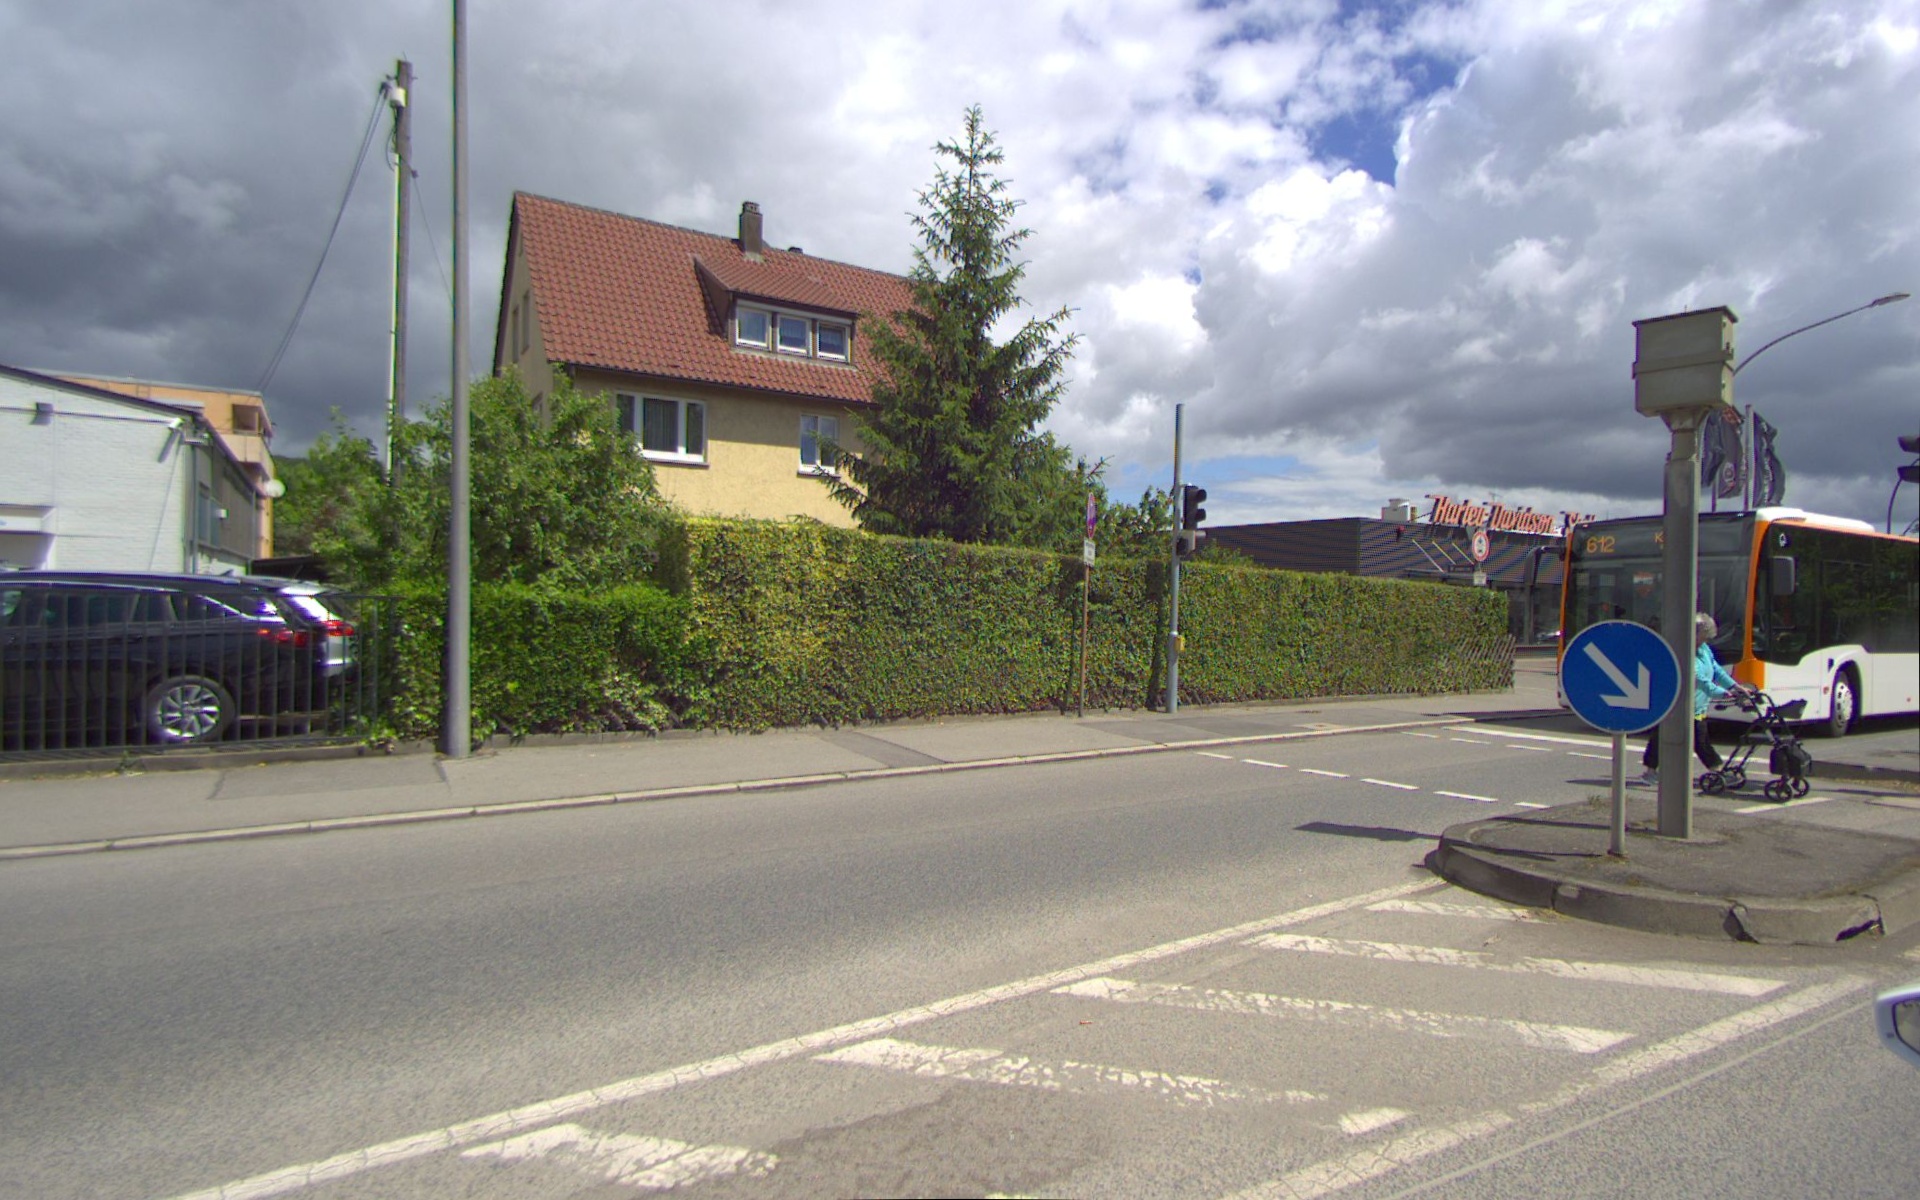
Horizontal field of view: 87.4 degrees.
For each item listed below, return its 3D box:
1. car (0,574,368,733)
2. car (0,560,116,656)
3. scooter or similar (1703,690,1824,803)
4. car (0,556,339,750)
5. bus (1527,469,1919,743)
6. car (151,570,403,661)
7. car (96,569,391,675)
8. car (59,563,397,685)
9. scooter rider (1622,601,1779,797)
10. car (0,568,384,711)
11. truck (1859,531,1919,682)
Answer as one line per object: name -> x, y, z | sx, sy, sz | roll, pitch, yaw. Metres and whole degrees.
car -> -9.041, 0.524, 11.057 | 4.224, 1.527, 2.140 | 1, 0, -35
car -> -17.382, 0.128, 17.498 | 3.963, 1.639, 1.763 | 2, -1, -37
scooter or similar -> 6.776, 1.208, 8.478 | 0.652, 0.843, 0.608 | 1, -1, -31
car -> -8.032, 0.419, 8.886 | 4.224, 1.527, 2.140 | 1, -1, -35
bus -> 14.048, 0.241, 16.405 | 11.982, 3.309, 2.764 | 2, -1, -31
car -> -13.417, 0.318, 19.910 | 3.963, 1.639, 1.763 | 2, -1, -37
car -> -12.273, 0.384, 17.434 | 3.963, 1.639, 1.763 | 2, -1, -37
car -> -10.969, 0.366, 15.386 | 3.959, 1.639, 1.765 | 1, -1, -34
scooter rider -> 6.517, 0.823, 8.860 | 0.787, 1.611, 0.873 | 1, 0, -31
car -> -9.998, 0.494, 13.341 | 3.959, 1.639, 1.765 | 1, -1, -34
truck -> 30.097, 0.298, 30.506 | 9.068, 4.186, 2.410 | 2, 2, -38
